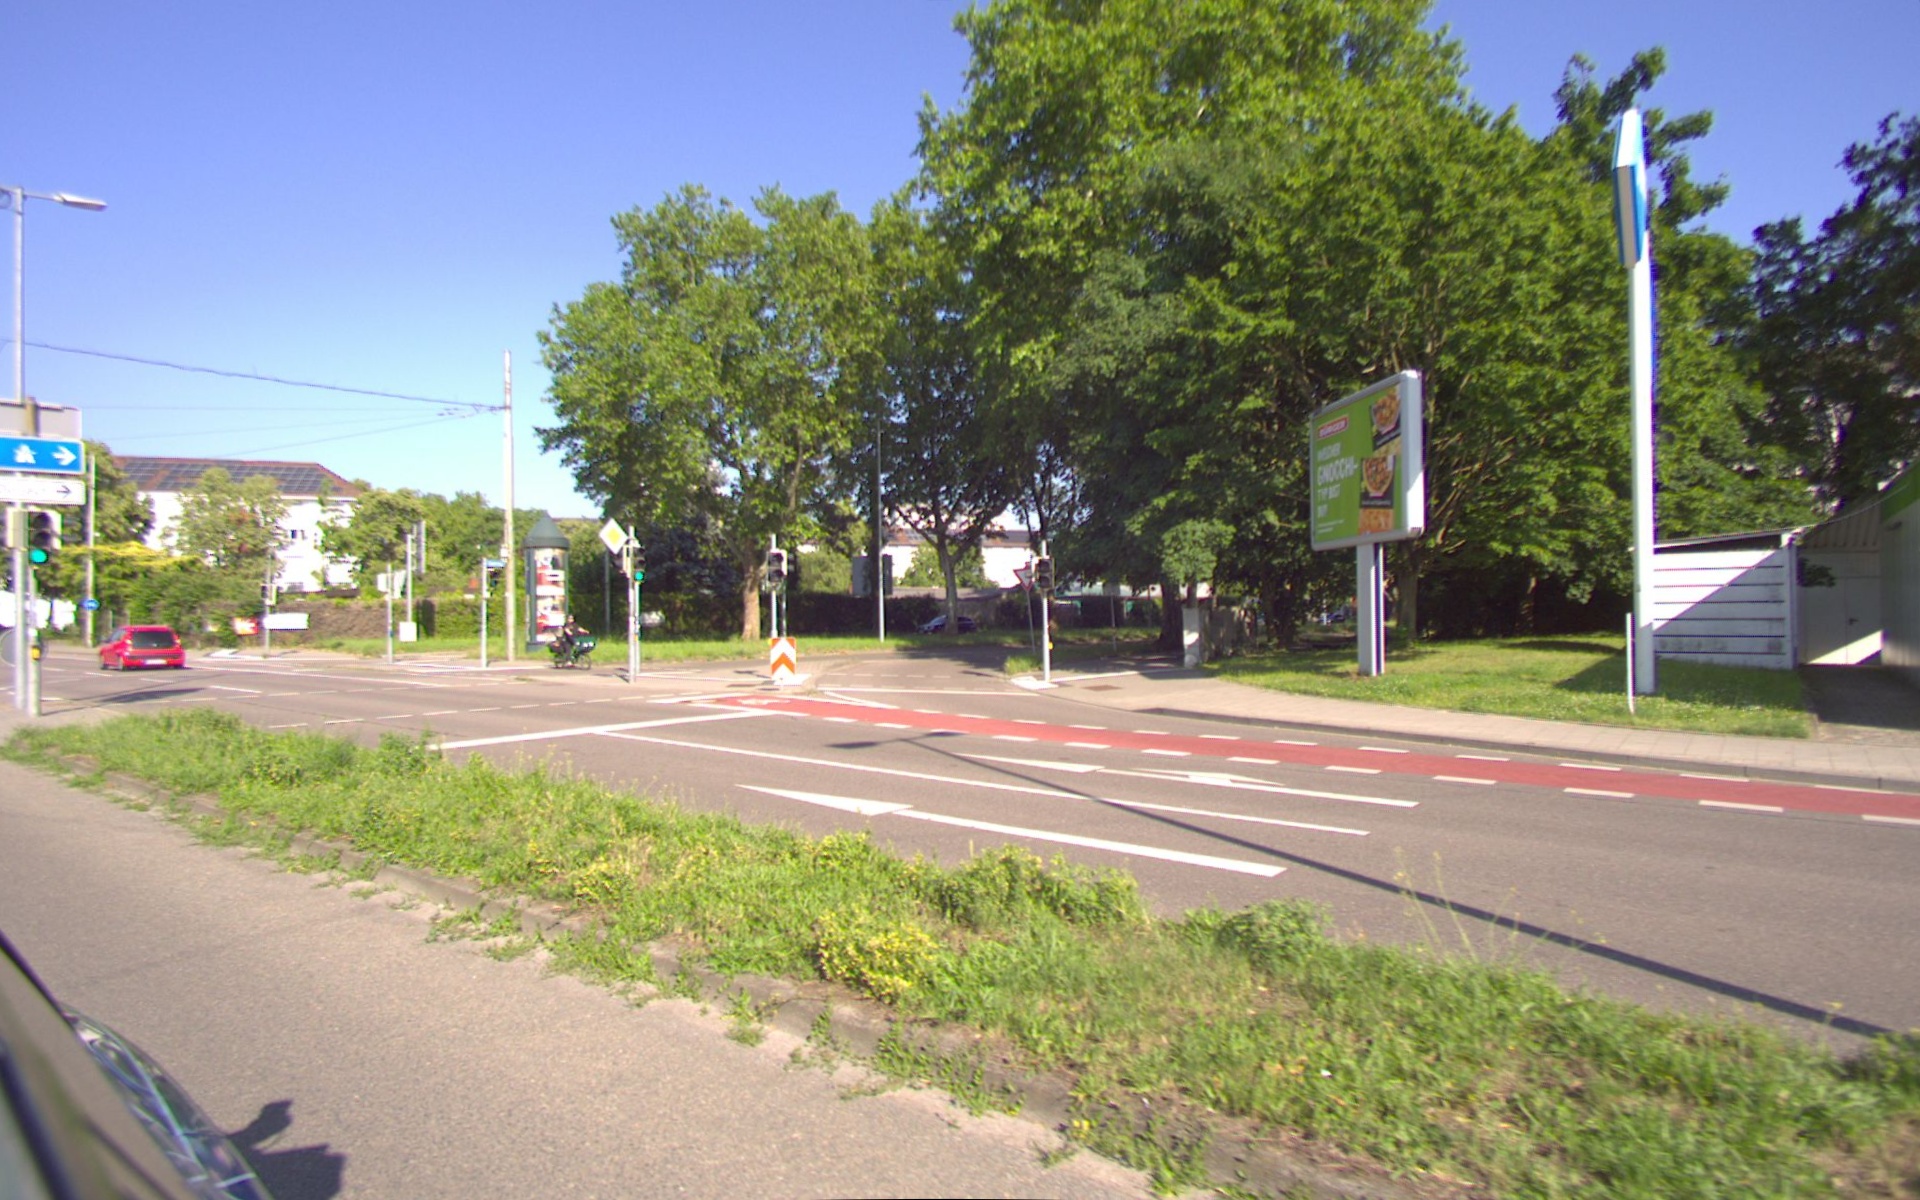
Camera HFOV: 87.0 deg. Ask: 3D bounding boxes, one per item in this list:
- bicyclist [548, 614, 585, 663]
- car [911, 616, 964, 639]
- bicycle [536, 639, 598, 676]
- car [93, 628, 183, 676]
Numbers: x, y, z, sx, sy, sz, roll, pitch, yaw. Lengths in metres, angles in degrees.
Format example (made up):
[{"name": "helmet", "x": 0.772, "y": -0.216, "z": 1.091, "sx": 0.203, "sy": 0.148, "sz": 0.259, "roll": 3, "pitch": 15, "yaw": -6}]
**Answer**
[{"name": "bicyclist", "x": -12.101, "y": 1.167, "z": 31.108, "sx": 1.050, "sy": 1.463, "sz": 0.655, "roll": -2, "pitch": -1, "yaw": 41}, {"name": "car", "x": -1.439, "y": 1.775, "z": 65.936, "sx": 1.509, "sy": 1.317, "sz": 3.376, "roll": -1, "pitch": 1, "yaw": 44}, {"name": "bicycle", "x": -12.102, "y": 1.743, "z": 31.099, "sx": 2.579, "sy": 1.057, "sz": 0.655, "roll": -2, "pitch": -1, "yaw": 41}, {"name": "car", "x": -26.061, "y": 1.623, "z": 32.067, "sx": 3.329, "sy": 1.427, "sz": 1.558, "roll": -2, "pitch": -1, "yaw": 39}]
